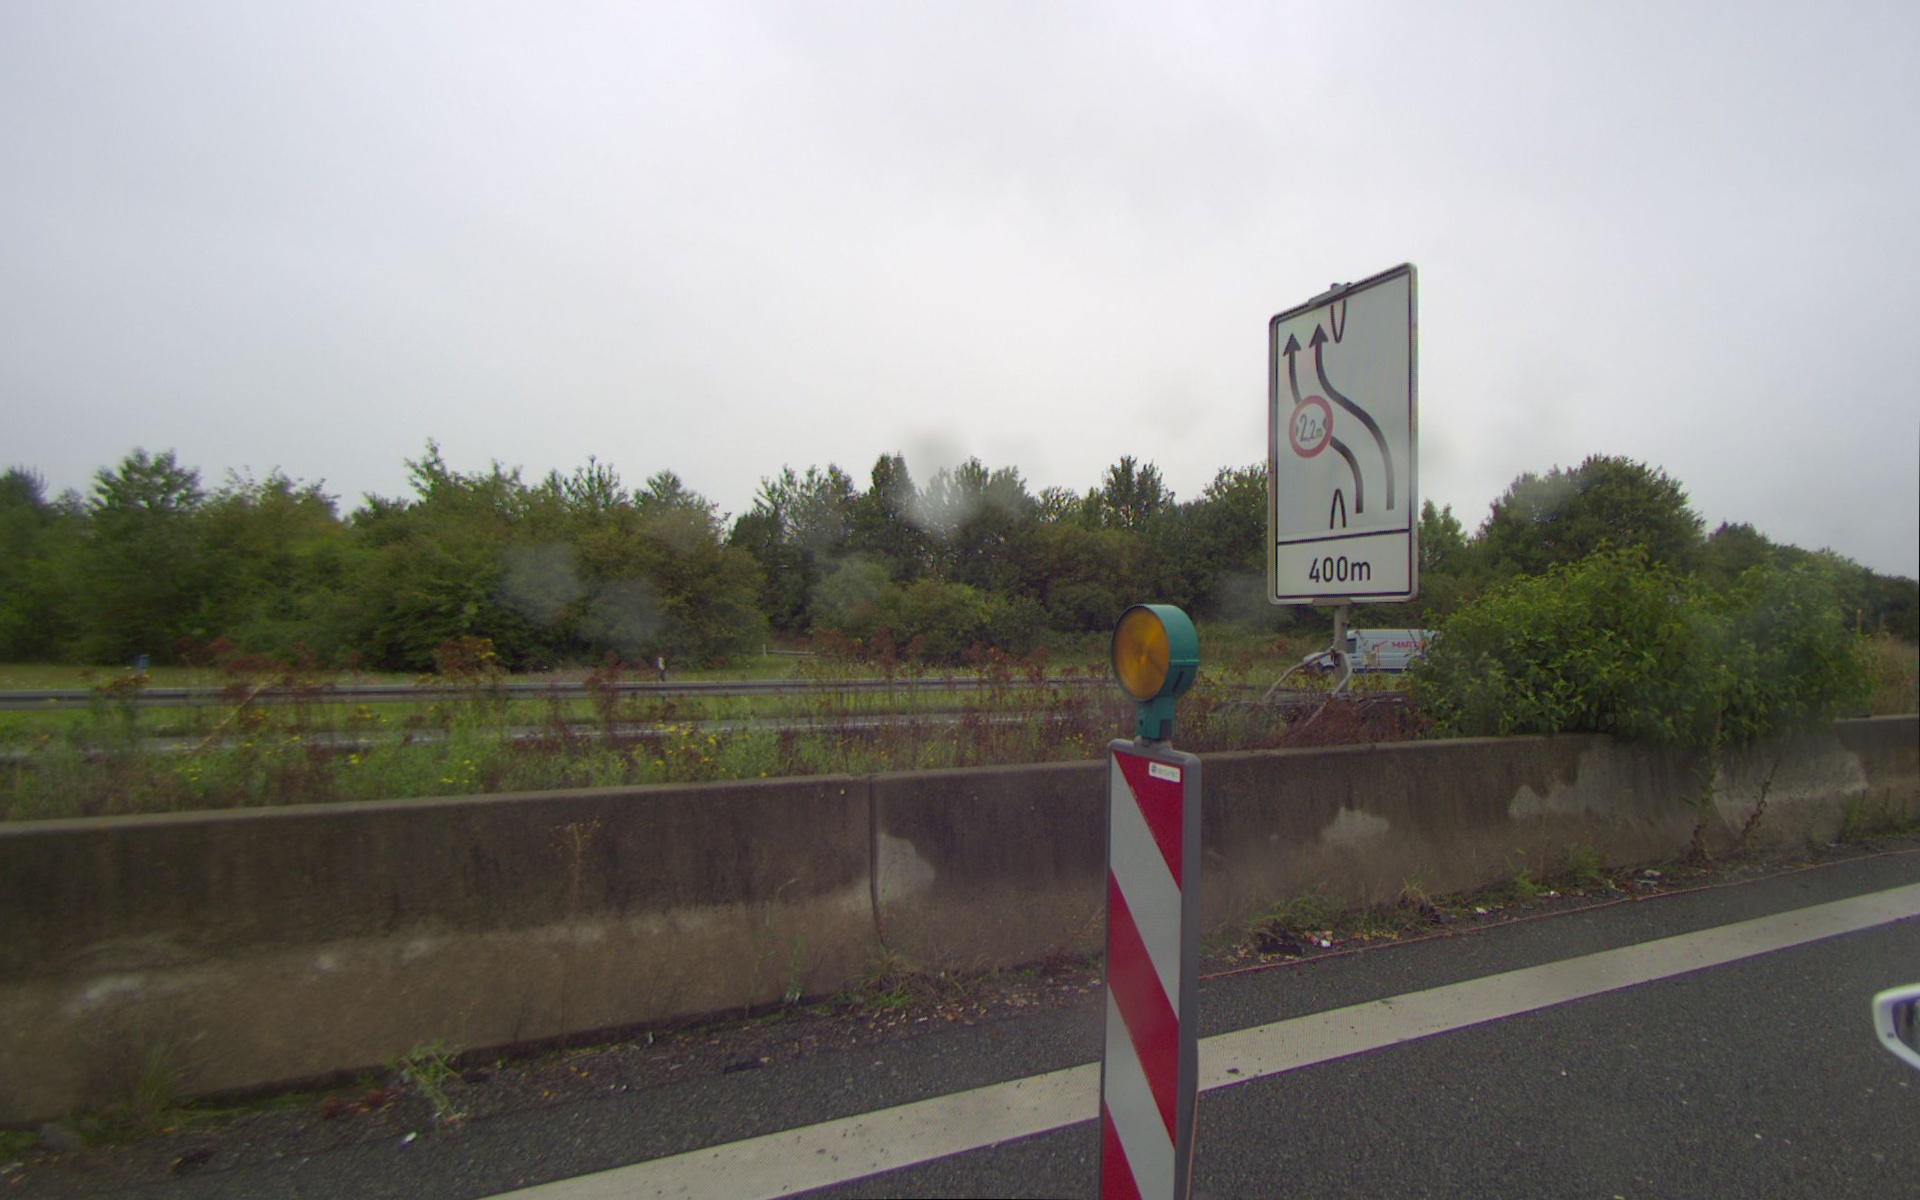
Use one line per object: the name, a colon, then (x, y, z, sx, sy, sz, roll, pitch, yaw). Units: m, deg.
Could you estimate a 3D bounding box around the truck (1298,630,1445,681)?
truck: (19.937, 2.673, 48.894, 6.305, 2.460, 2.001, 0, -2, 1)
